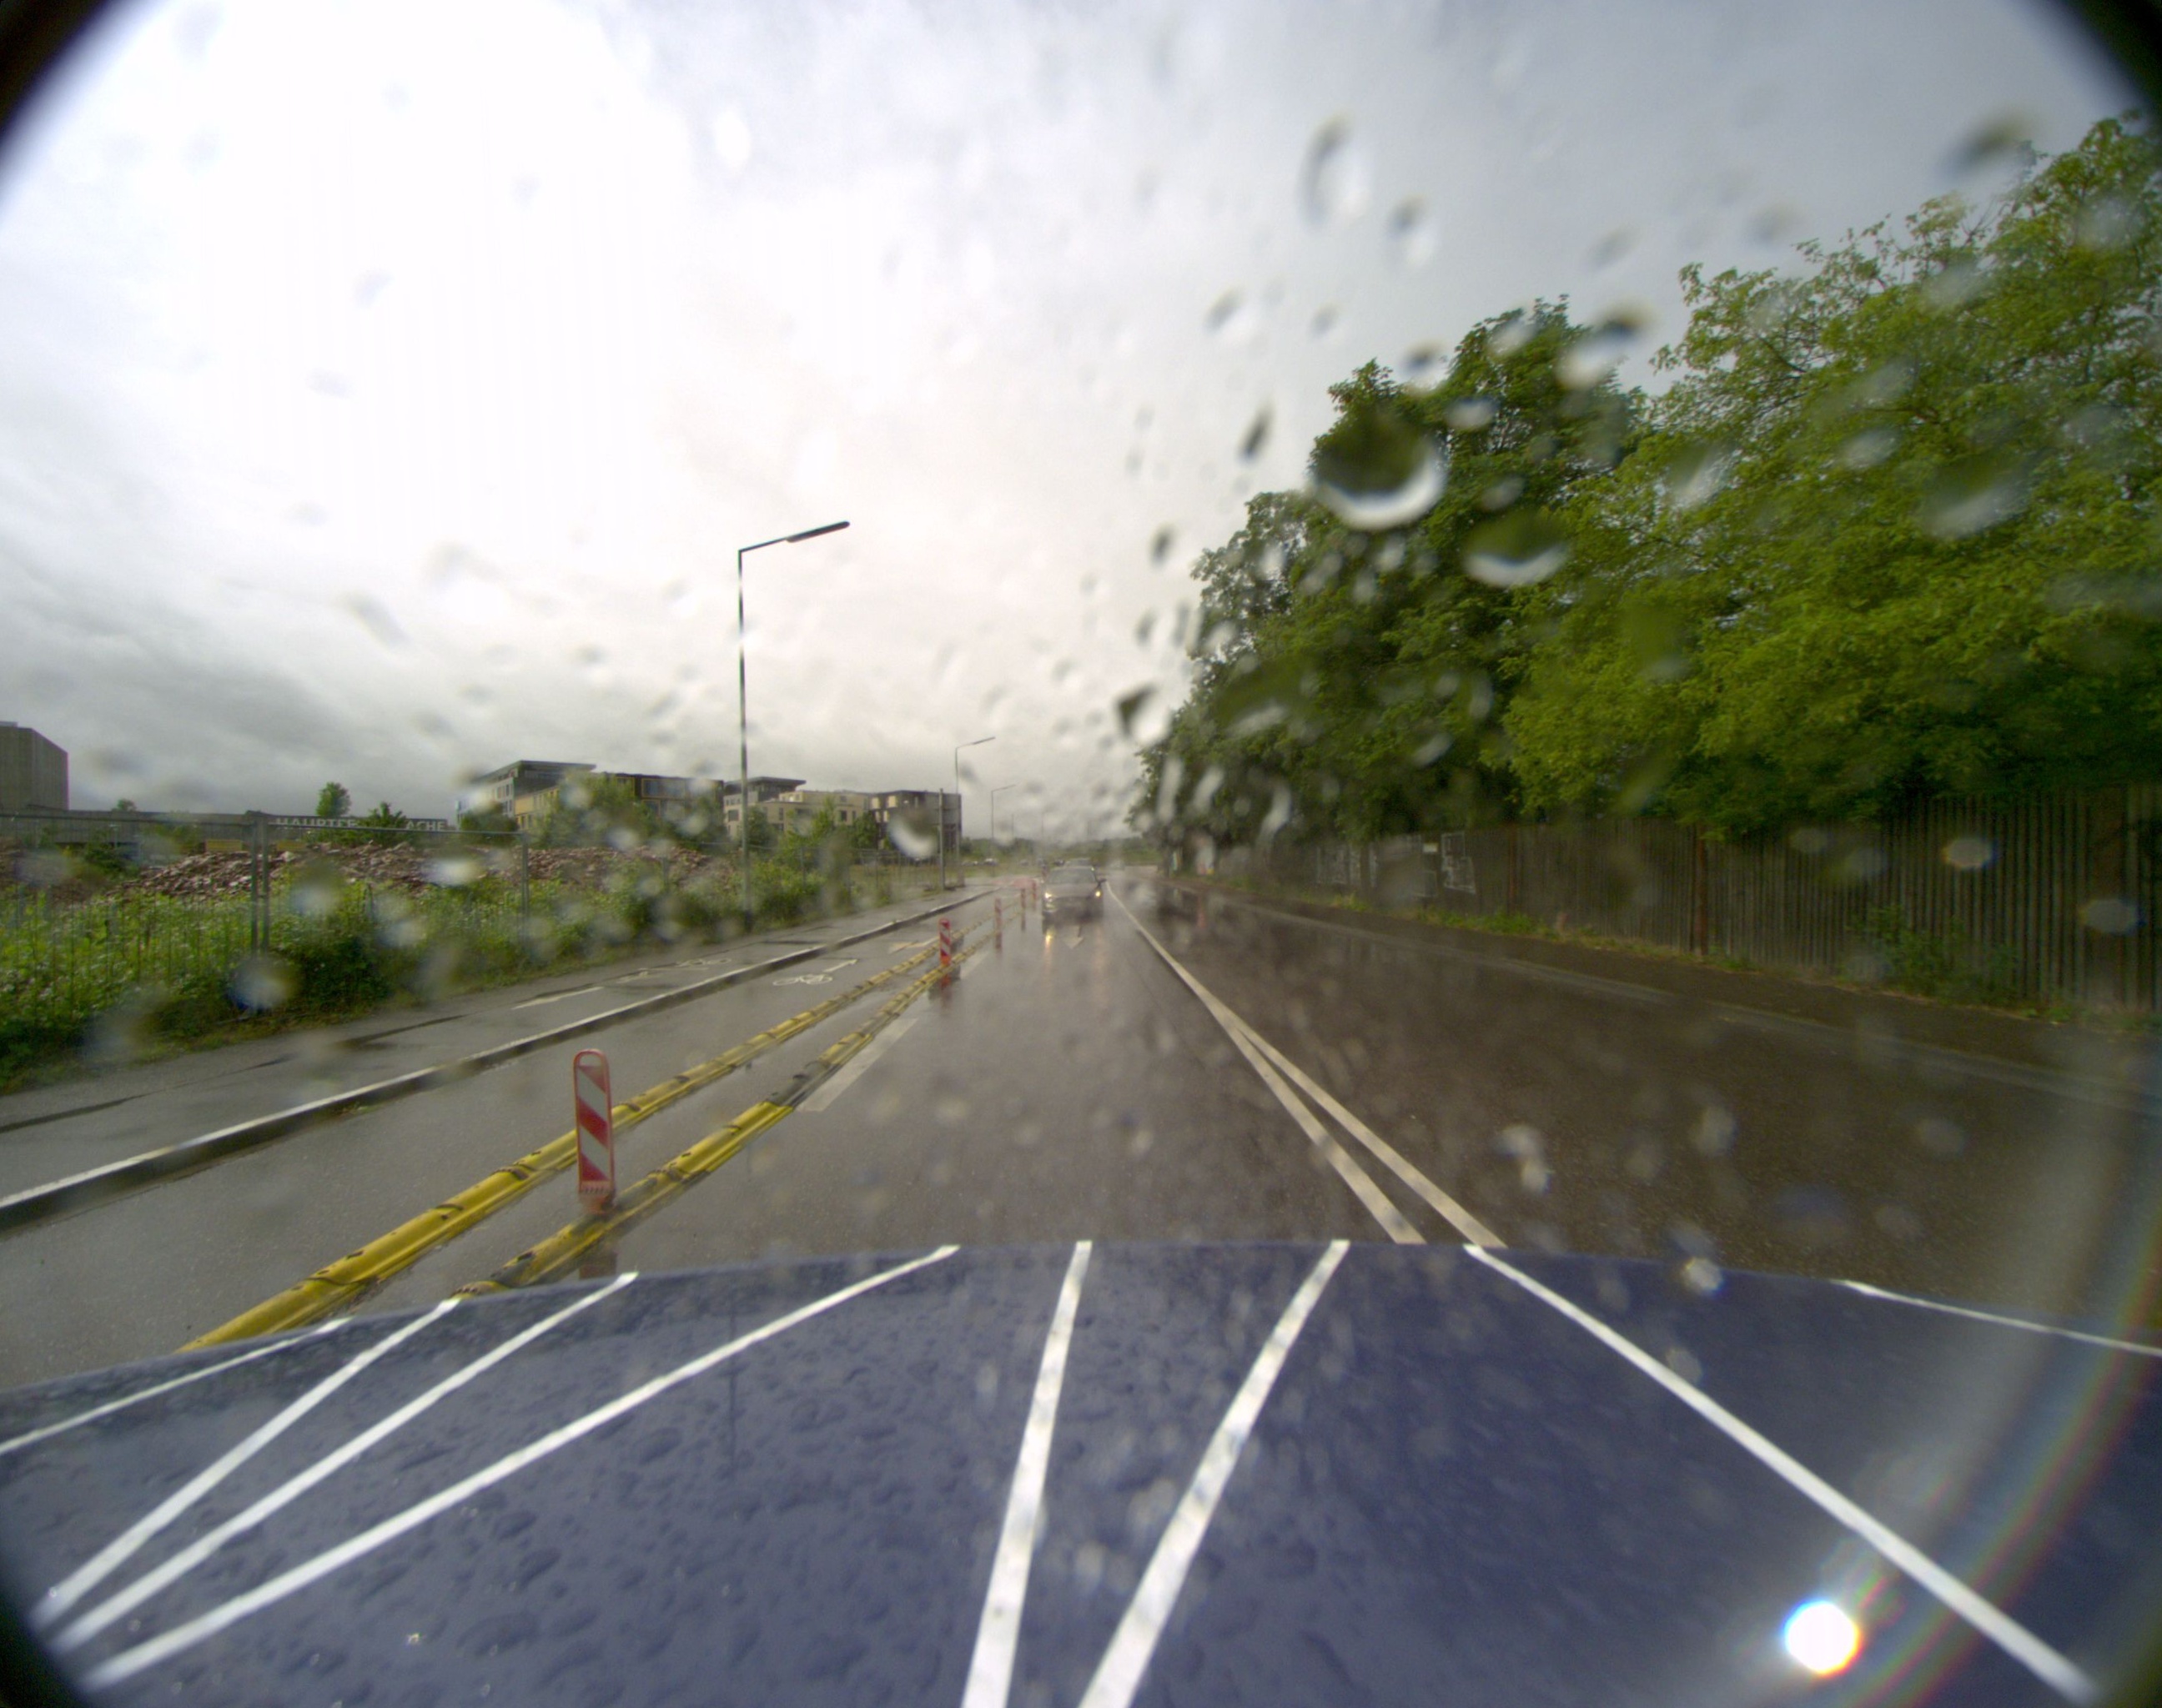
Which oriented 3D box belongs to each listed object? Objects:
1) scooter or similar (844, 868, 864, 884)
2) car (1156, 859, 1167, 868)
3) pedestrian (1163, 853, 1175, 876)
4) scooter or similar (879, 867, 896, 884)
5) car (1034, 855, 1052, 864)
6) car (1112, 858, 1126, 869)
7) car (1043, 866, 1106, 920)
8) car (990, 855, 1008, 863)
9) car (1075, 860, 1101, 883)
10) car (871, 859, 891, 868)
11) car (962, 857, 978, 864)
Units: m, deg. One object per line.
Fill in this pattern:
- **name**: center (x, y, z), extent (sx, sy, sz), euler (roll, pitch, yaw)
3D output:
- **scooter or similar**: center (-16.108, 1.558, 53.800), extent (1.191, 1.143, 0.748), euler (-1, 0, 33)
- **car**: center (16.403, 1.895, 154.709), extent (1.795, 1.623, 3.821), euler (-1, 0, 11)
- **pedestrian**: center (6.811, 0.785, 58.873), extent (0.841, 1.759, 0.644), euler (0, 0, 0)
- **scooter or similar**: center (-13.447, 1.508, 52.764), extent (1.191, 1.143, 0.484), euler (-1, 0, 34)
- **car**: center (-9.105, 1.290, 181.857), extent (3.989, 2.002, 2.004), euler (-1, 0, 42)
- **car**: center (6.154, 1.565, 123.124), extent (1.795, 1.623, 3.621), euler (-1, 0, 11)
- **car**: center (-0.256, 1.124, 23.059), extent (1.724, 1.423, 3.817), euler (-1, 0, -2)
- **car**: center (-20.882, 1.328, 192.891), extent (4.008, 2.002, 1.994), euler (-1, 0, -44)
- **car**: center (0.479, 1.193, 54.239), extent (1.734, 1.539, 3.770), euler (-1, 0, -1)
- **car**: center (-36.870, 1.712, 140.163), extent (1.644, 1.573, 3.674), euler (-1, 0, 24)
- **car**: center (-26.883, 1.581, 183.831), extent (3.657, 1.601, 1.596), euler (-1, 0, -40)
